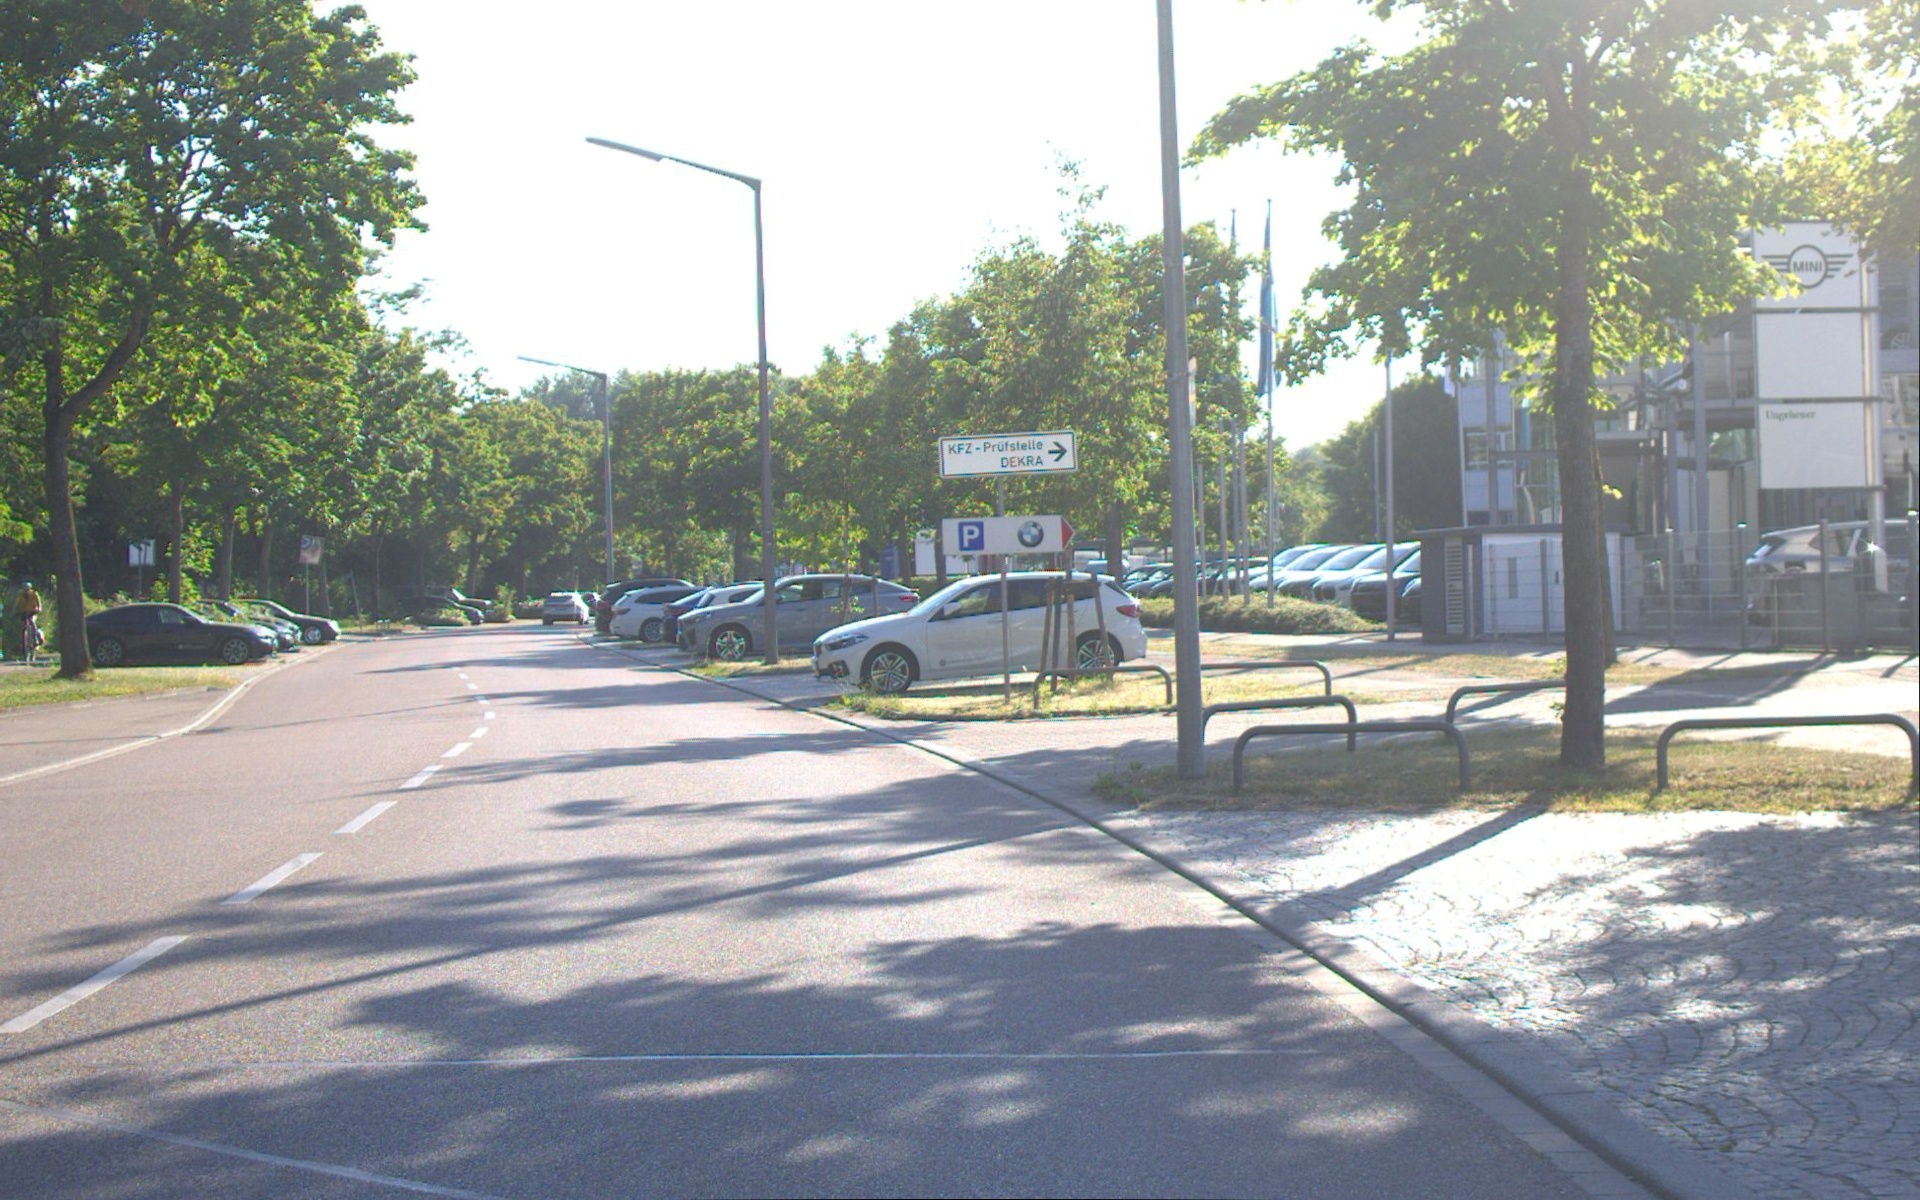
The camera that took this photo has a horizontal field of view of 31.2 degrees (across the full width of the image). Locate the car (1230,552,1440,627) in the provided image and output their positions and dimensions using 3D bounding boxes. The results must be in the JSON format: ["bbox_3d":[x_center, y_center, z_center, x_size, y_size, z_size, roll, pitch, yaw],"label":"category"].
[{"bbox_3d":[8.669,-0.258,79.411,4.591,1.569,2.000,-2,0,-35],"label":"car"}]

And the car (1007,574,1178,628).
[{"bbox_3d":[4.008,0.039,104.330,4.782,1.459,1.996,-2,0,33],"label":"car"}]

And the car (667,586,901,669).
[{"bbox_3d":[-3.674,0.562,71.429,4.623,1.451,2.000,-3,0,-8],"label":"car"}]

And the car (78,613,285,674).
[{"bbox_3d":[-18.172,1.012,80.414,4.647,1.417,1.917,0,0,-10],"label":"car"}]

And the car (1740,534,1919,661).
[{"bbox_3d":[12.412,-0.066,45.403,3.989,1.573,1.999,-2,0,11],"label":"car"}]

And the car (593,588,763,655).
[{"bbox_3d":[-7.981,0.600,97.560,4.694,1.745,2.192,-2,0,-3],"label":"car"}]

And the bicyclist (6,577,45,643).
[{"bbox_3d":[-22.114,0.237,81.341,0.730,1.525,0.951,-2,0,-8],"label":"bicyclist"}]

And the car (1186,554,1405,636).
[{"bbox_3d":[8.067,-0.130,82.475,4.715,1.684,2.411,-3,0,-35],"label":"car"}]

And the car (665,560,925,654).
[{"bbox_3d":[-3.112,0.121,64.453,4.589,1.579,2.000,-2,0,-11],"label":"car"}]

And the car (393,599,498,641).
[{"bbox_3d":[-26.294,1.031,175.708,5.004,2.013,2.174,-1,0,-1],"label":"car"}]

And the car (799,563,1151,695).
[{"bbox_3d":[0.164,0.363,44.596,4.197,1.439,2.089,-3,0,-10],"label":"car"}]

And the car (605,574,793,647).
[{"bbox_3d":[-6.847,0.252,89.949,4.694,1.474,2.001,-3,6,-8],"label":"car"}]

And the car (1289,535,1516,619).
[{"bbox_3d":[9.468,-0.498,73.439,4.591,1.569,2.000,-3,0,-35],"label":"car"}]

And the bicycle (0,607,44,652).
[{"bbox_3d":[-22.275,0.699,81.590,0.765,1.036,2.218,-2,0,-8],"label":"bicycle"}]

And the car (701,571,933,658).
[{"bbox_3d":[-2.873,0.280,68.582,4.375,1.474,2.000,-3,0,-8],"label":"car"}]

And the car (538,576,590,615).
[{"bbox_3d":[-17.986,-0.202,156.259,1.993,1.711,4.000,-1,0,-2],"label":"car"}]

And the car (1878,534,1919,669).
[{"bbox_3d":[13.107,-0.051,40.992,3.989,1.573,1.999,-2,0,11],"label":"car"}]
